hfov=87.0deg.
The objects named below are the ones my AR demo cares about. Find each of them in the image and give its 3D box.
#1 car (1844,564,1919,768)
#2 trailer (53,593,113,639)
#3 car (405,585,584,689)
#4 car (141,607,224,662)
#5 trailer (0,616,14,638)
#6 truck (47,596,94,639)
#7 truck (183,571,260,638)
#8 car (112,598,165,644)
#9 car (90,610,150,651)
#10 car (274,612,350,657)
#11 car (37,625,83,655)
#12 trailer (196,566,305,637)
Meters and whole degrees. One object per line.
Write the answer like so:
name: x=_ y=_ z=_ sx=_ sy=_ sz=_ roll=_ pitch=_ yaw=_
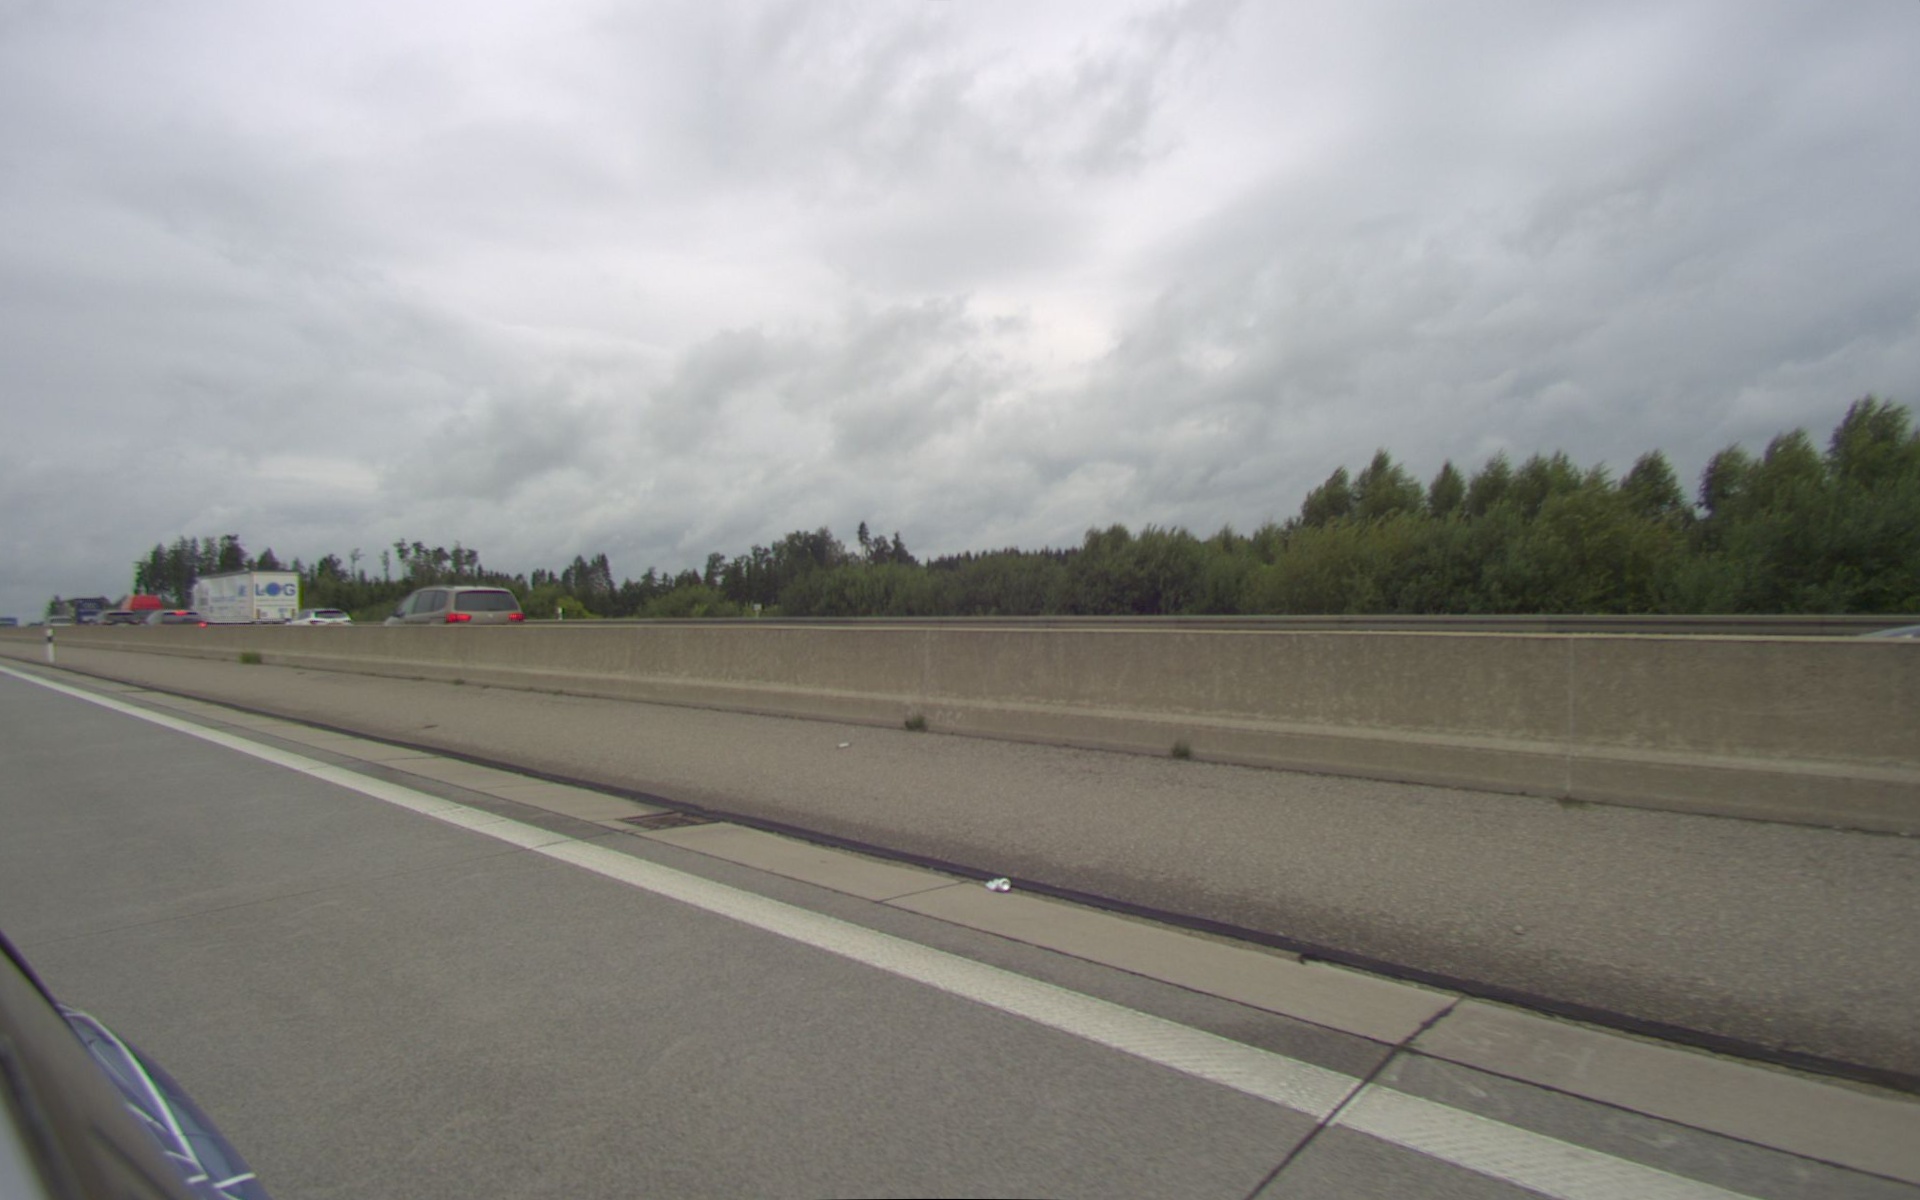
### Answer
car: x=10.229 y=0.490 z=7.659 sx=5.266 sy=1.679 sz=2.013 roll=-2 pitch=-1 yaw=41
trailer: x=-99.007 y=1.875 z=114.164 sx=12.904 sy=4.836 sz=3.560 roll=-3 pitch=-1 yaw=42
car: x=-10.159 y=0.760 z=21.908 sx=4.835 sy=2.029 sz=1.670 roll=-1 pitch=-1 yaw=41
car: x=-30.846 y=1.342 z=40.090 sx=4.835 sy=2.029 sz=1.670 roll=-1 pitch=-1 yaw=41
trailer: x=-176.055 y=5.054 z=185.707 sx=12.399 sy=3.866 sz=2.818 roll=-3 pitch=-1 yaw=43
truck: x=-105.537 y=2.120 z=120.088 sx=5.867 sy=4.856 sz=3.549 roll=-3 pitch=-1 yaw=42
truck: x=-50.715 y=0.350 z=69.442 sx=7.134 sy=4.323 sz=2.853 roll=-3 pitch=-1 yaw=42
car: x=-54.502 y=1.409 z=67.078 sx=5.576 sy=2.981 sz=1.783 roll=-2 pitch=-1 yaw=41
car: x=-44.302 y=1.600 z=53.331 sx=4.835 sy=2.029 sz=1.670 roll=-1 pitch=-1 yaw=41
car: x=-27.290 y=1.460 z=42.567 sx=4.576 sy=1.762 sz=1.480 roll=-3 pitch=-1 yaw=41
car: x=-62.570 y=2.785 z=70.344 sx=4.724 sy=2.029 sz=1.782 roll=-3 pitch=-1 yaw=41
trailer: x=-45.801 y=0.247 z=65.034 sx=13.010 sy=4.033 sz=2.857 roll=-3 pitch=-1 yaw=42
